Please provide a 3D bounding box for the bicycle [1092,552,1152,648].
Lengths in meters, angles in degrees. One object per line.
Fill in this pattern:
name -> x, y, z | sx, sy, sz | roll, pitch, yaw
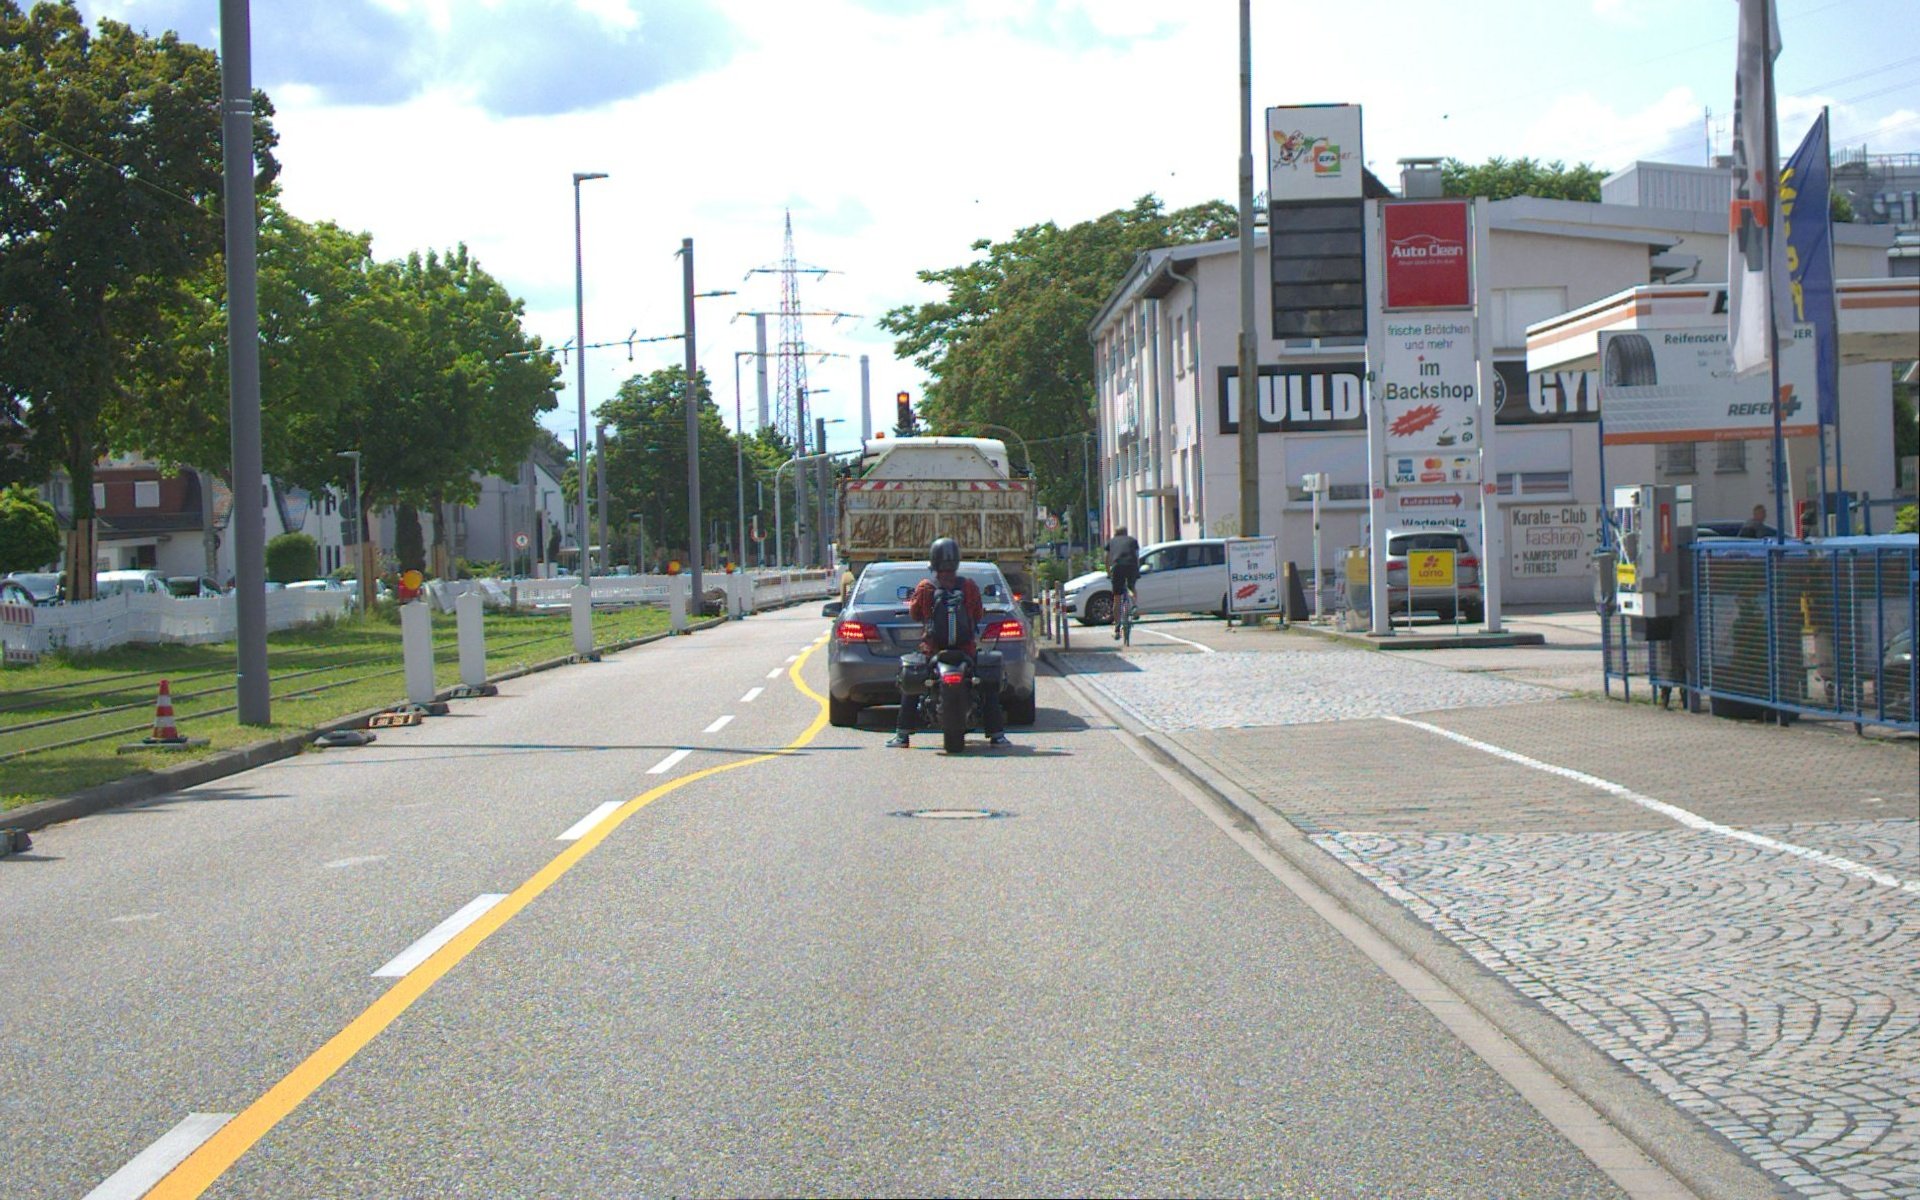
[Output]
bicycle -> 2.373, -0.016, 50.569 | 0.693, 1.357, 2.419 | -2, 1, -1

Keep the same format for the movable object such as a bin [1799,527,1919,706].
movable object such as a bin -> 7.783, 0.125, 28.803 | 1.256, 1.439, 0.824 | -2, 0, 0

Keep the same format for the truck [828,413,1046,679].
truck -> -0.270, -0.834, 47.827 | 2.610, 3.244, 9.183 | -2, 2, 0

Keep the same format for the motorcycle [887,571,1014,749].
motorcycle -> -0.082, 0.439, 27.028 | 0.939, 1.316, 2.645 | 0, 1, 0

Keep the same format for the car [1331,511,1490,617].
car -> 7.593, -0.597, 58.272 | 1.959, 1.643, 4.000 | -2, 0, -2

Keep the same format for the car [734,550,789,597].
car -> -6.471, -0.873, 112.245 | 1.654, 1.442, 4.303 | -2, 1, -2

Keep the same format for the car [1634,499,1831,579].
car -> 17.632, -1.387, 78.611 | 3.987, 1.643, 1.966 | -2, 0, -1

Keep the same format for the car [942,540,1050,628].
car -> 0.616, -0.306, 60.693 | 1.821, 1.459, 4.000 | -1, 1, 0

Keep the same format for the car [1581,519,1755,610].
car -> 12.104, -0.596, 58.979 | 1.959, 1.415, 4.000 | -2, 0, -2

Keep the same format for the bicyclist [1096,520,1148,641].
bicyclist -> 2.370, -0.292, 50.321 | 0.671, 1.738, 0.813 | -2, 1, -1

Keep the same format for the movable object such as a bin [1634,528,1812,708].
movable object such as a bin -> 6.405, 0.146, 28.916 | 1.256, 1.439, 0.824 | -2, 0, 0

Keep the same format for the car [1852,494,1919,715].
car -> 8.034, -0.032, 22.798 | 3.990, 1.438, 1.709 | -2, 0, 17

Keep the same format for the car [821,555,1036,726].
car -> -0.283, 0.323, 31.502 | 1.821, 1.419, 4.000 | -1, 1, 0

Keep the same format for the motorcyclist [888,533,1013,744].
motorcyclist -> -0.076, 0.288, 26.846 | 0.939, 1.609, 1.205 | 0, 0, 0

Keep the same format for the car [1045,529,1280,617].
car -> 4.040, -0.539, 68.933 | 4.329, 1.546, 1.950 | -2, 0, -8

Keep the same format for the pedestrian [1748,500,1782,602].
pedestrian -> 13.382, -0.810, 57.159 | 0.396, 1.683, 0.485 | -2, 0, 1
